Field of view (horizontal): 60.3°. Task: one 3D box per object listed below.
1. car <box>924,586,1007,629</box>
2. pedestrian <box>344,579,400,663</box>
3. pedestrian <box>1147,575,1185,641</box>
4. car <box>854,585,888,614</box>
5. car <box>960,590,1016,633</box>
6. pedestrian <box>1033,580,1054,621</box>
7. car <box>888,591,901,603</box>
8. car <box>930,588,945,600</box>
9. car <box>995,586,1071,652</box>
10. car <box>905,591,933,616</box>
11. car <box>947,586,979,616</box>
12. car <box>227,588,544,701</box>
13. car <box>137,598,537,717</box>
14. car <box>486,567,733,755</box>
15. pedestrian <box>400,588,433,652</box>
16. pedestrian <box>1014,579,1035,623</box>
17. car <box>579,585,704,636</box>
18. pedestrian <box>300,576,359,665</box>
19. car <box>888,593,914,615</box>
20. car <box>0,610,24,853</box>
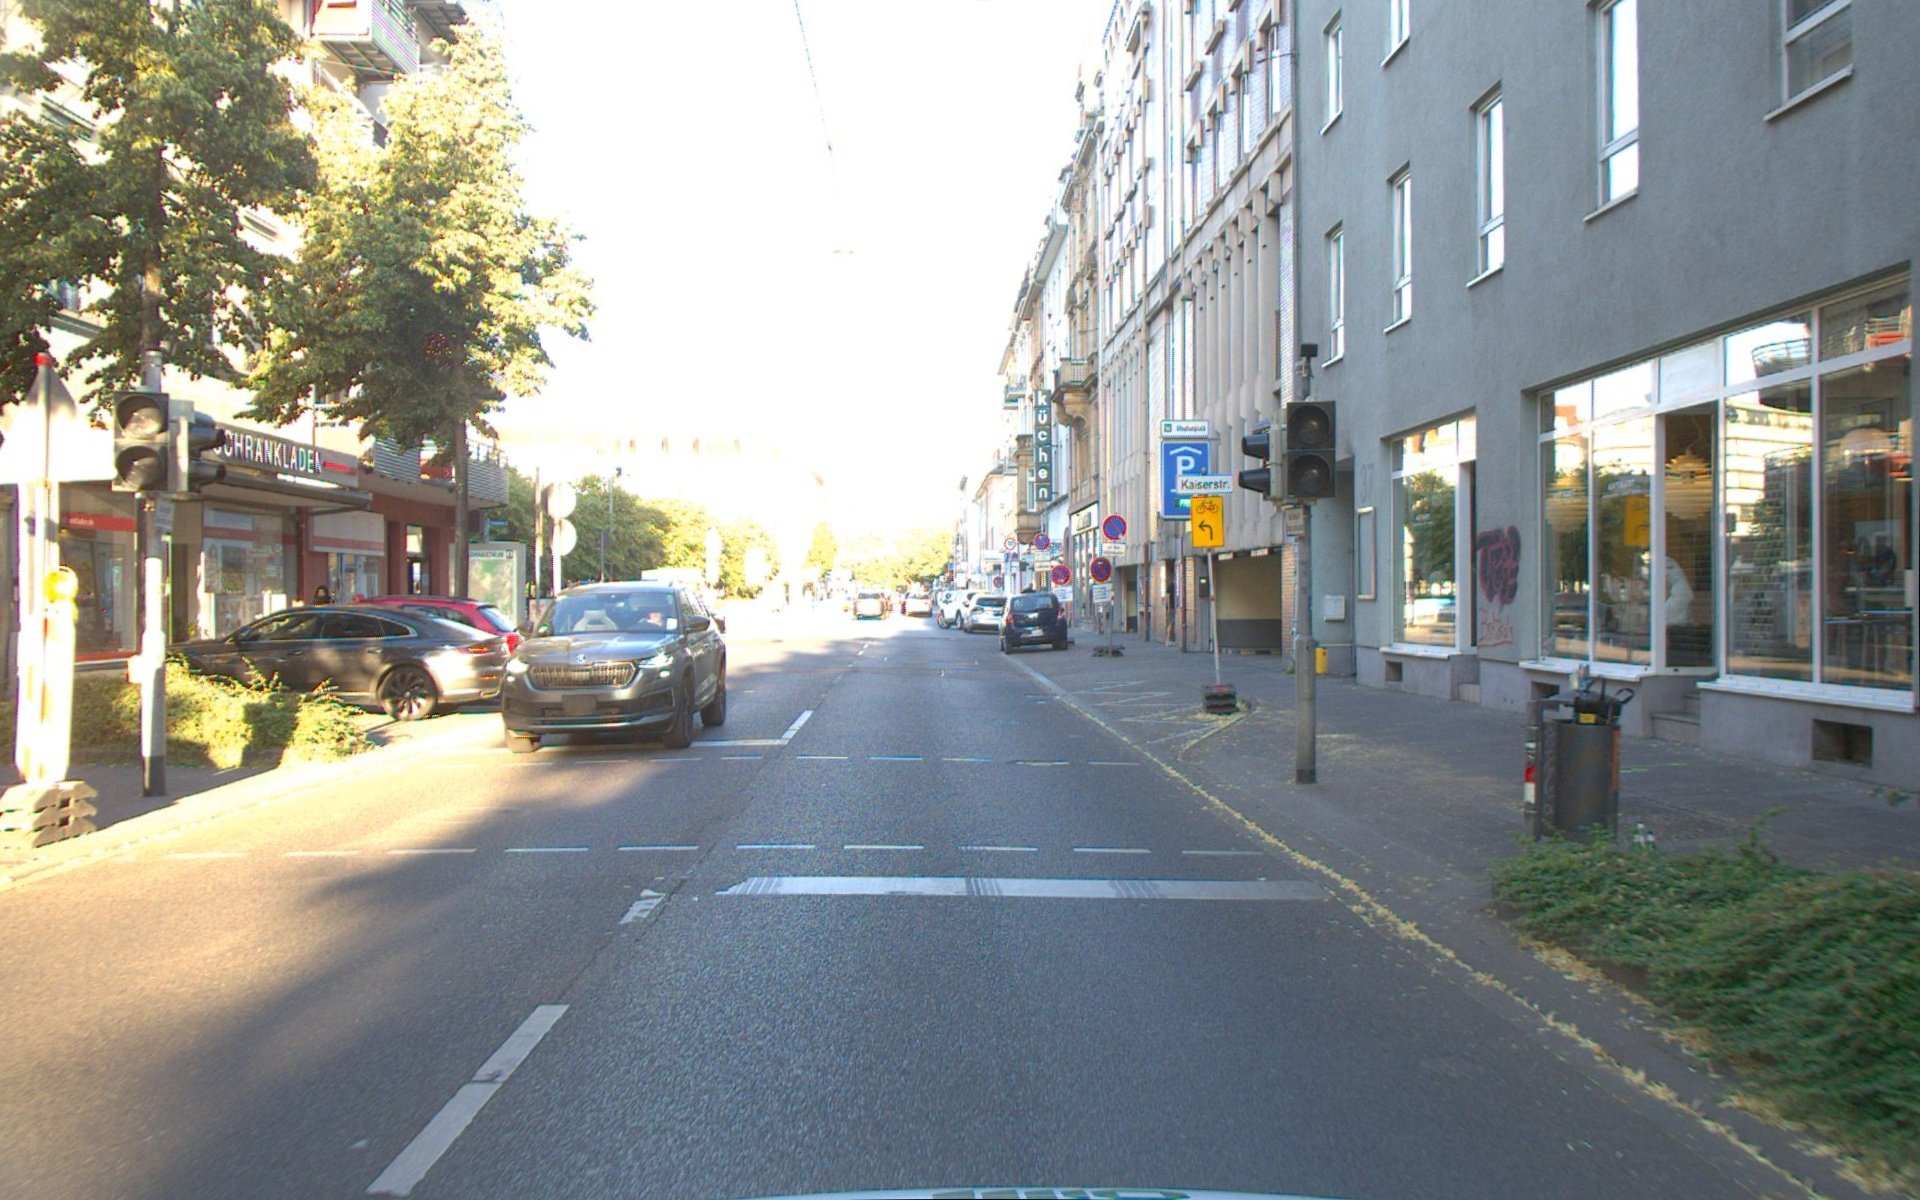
[{"bbox_3d":[0.191,0.313,71.388,1.967,1.792,4.432,-1,0,-24],"label":"car"},{"bbox_3d":[-11.144,0.398,31.368,0.719,1.555,0.875,1,-1,-2],"label":"pedestrian"},{"bbox_3d":[5.121,0.196,41.149,0.598,1.627,0.766,0,0,-31],"label":"pedestrian"},{"bbox_3d":[-5.156,-0.038,96.199,1.858,1.678,4.102,0,0,-2],"label":"car"},{"bbox_3d":[1.033,0.436,63.000,1.724,1.563,4.818,1,0,-4],"label":"car"},{"bbox_3d":[3.565,0.014,70.915,0.757,1.741,1.041,-2,0,-2],"label":"pedestrian"},{"bbox_3d":[-8.665,-0.454,219.374,1.744,1.574,3.998,0,0,-3],"label":"car"},{"bbox_3d":[-2.989,-0.807,215.098,1.858,1.609,3.850,0,0,-2],"label":"car"},{"bbox_3d":[1.906,0.470,44.272,1.723,1.563,3.999,-4,0,-1],"label":"car"},{"bbox_3d":[-2.769,0.248,111.031,1.858,1.609,3.998,1,0,-2],"label":"car"},{"bbox_3d":[0.136,0.068,96.642,1.695,1.679,4.282,1,0,-2],"label":"car"},{"bbox_3d":[-8.356,0.627,24.340,3.990,1.563,1.883,1,0,-2],"label":"car"},{"bbox_3d":[-7.946,0.718,21.441,4.479,1.432,1.820,1,0,-3],"label":"car"},{"bbox_3d":[-3.574,0.542,17.690,1.824,1.722,4.458,-1,1,-2],"label":"car"},{"bbox_3d":[-14.032,0.527,42.706,0.584,1.623,0.701,-1,-1,-1],"label":"pedestrian"},{"bbox_3d":[2.758,0.037,70.873,0.757,1.859,1.010,-2,0,-2],"label":"pedestrian"},{"bbox_3d":[-10.576,0.346,55.106,3.911,1.609,1.900,1,0,-7],"label":"car"},{"bbox_3d":[-11.891,0.388,31.208,0.756,1.636,0.875,1,-1,-2],"label":"pedestrian"},{"bbox_3d":[-4.475,0.305,125.005,1.859,1.608,3.850,2,0,-2],"label":"car"},{"bbox_3d":[-7.613,0.762,8.902,4.025,1.428,1.882,1,0,-4],"label":"car"}]
